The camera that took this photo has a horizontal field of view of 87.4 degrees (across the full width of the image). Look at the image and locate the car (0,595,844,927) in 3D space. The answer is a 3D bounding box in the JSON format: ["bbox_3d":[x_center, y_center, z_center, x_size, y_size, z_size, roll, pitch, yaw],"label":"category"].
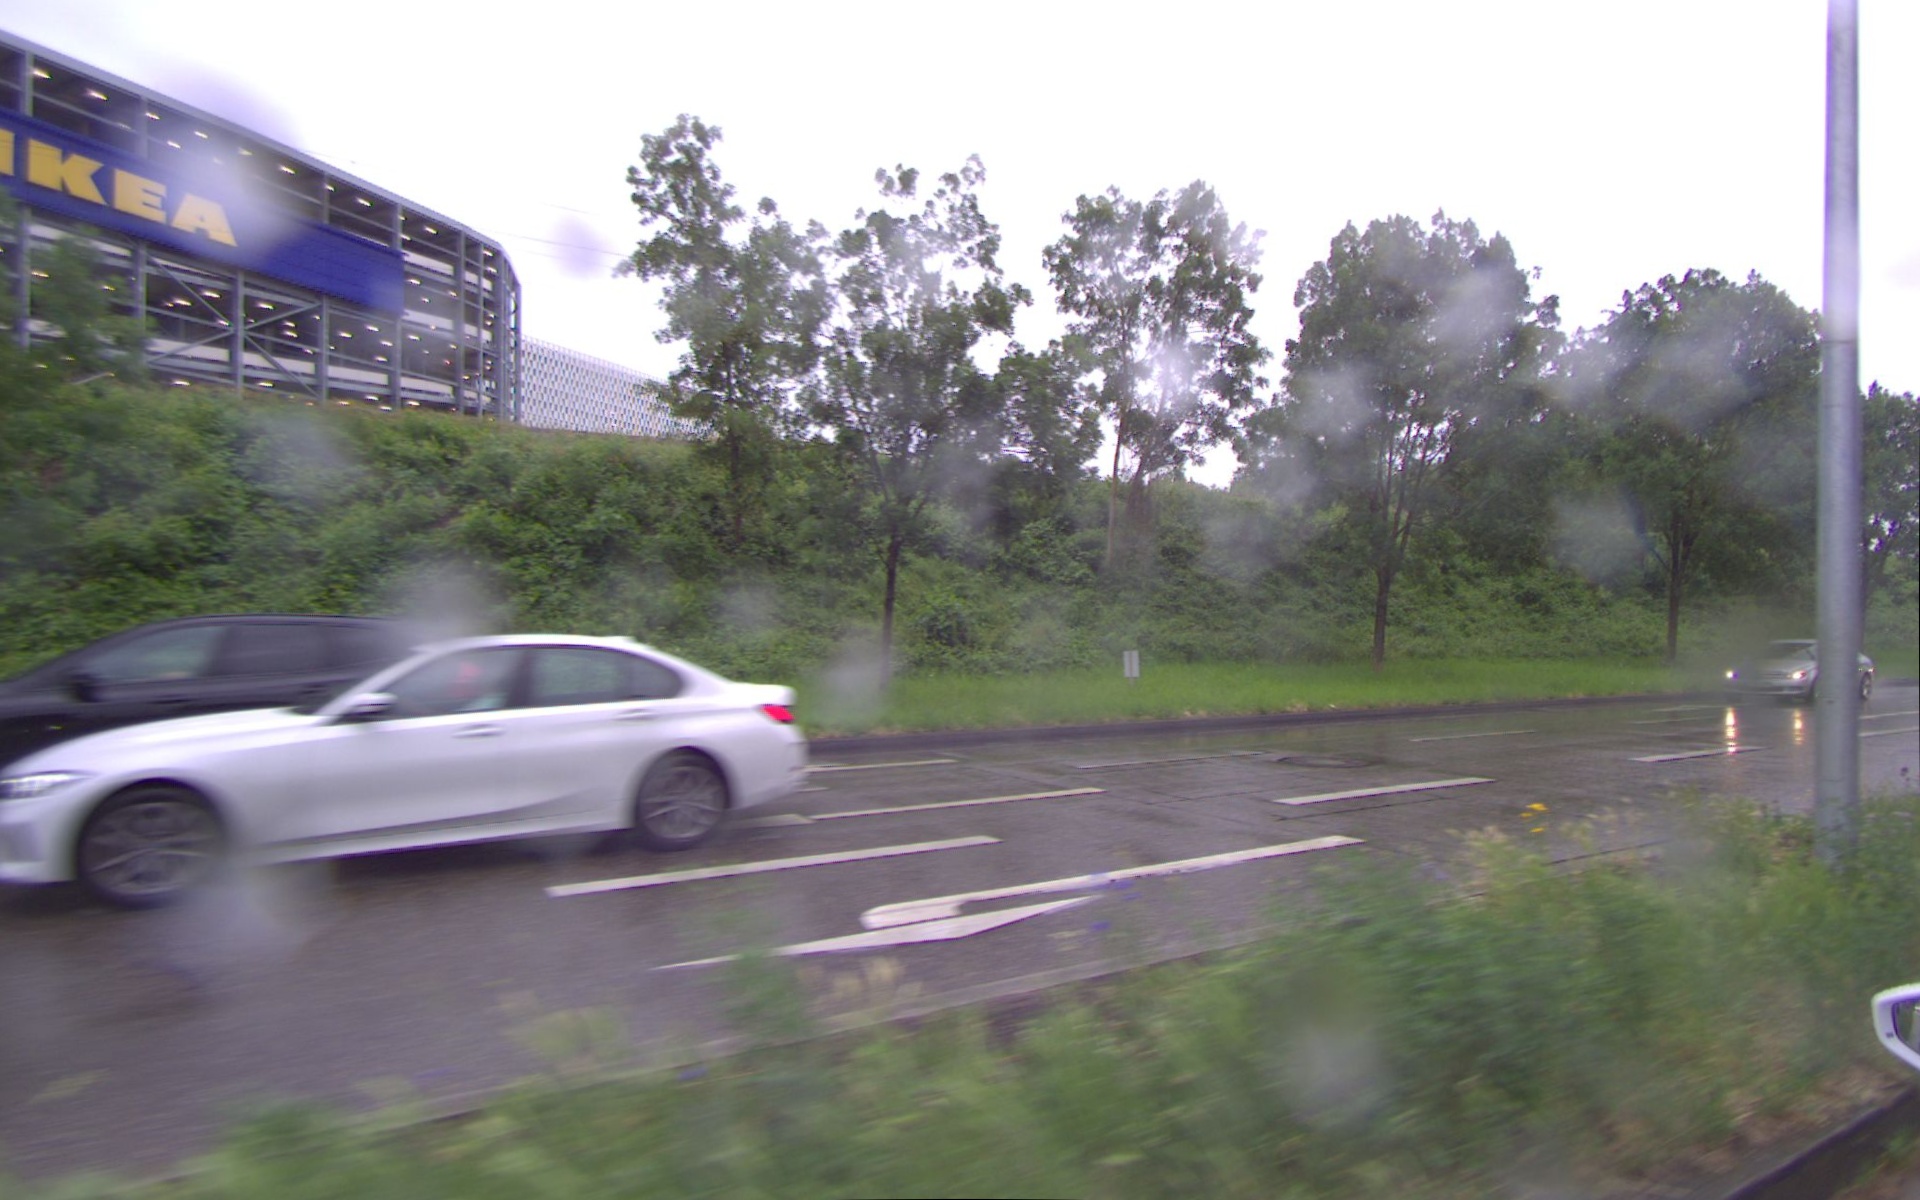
[{"bbox_3d":[-3.306,0.886,6.929,4.657,1.634,1.889,1,-3,-31],"label":"car"}]

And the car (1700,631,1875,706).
[{"bbox_3d":[19.719,1.560,23.887,4.427,1.634,1.889,1,-2,-32],"label":"car"}]

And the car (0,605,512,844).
[{"bbox_3d":[-6.435,0.920,8.482,4.626,1.682,2.027,1,-2,-31],"label":"car"}]
